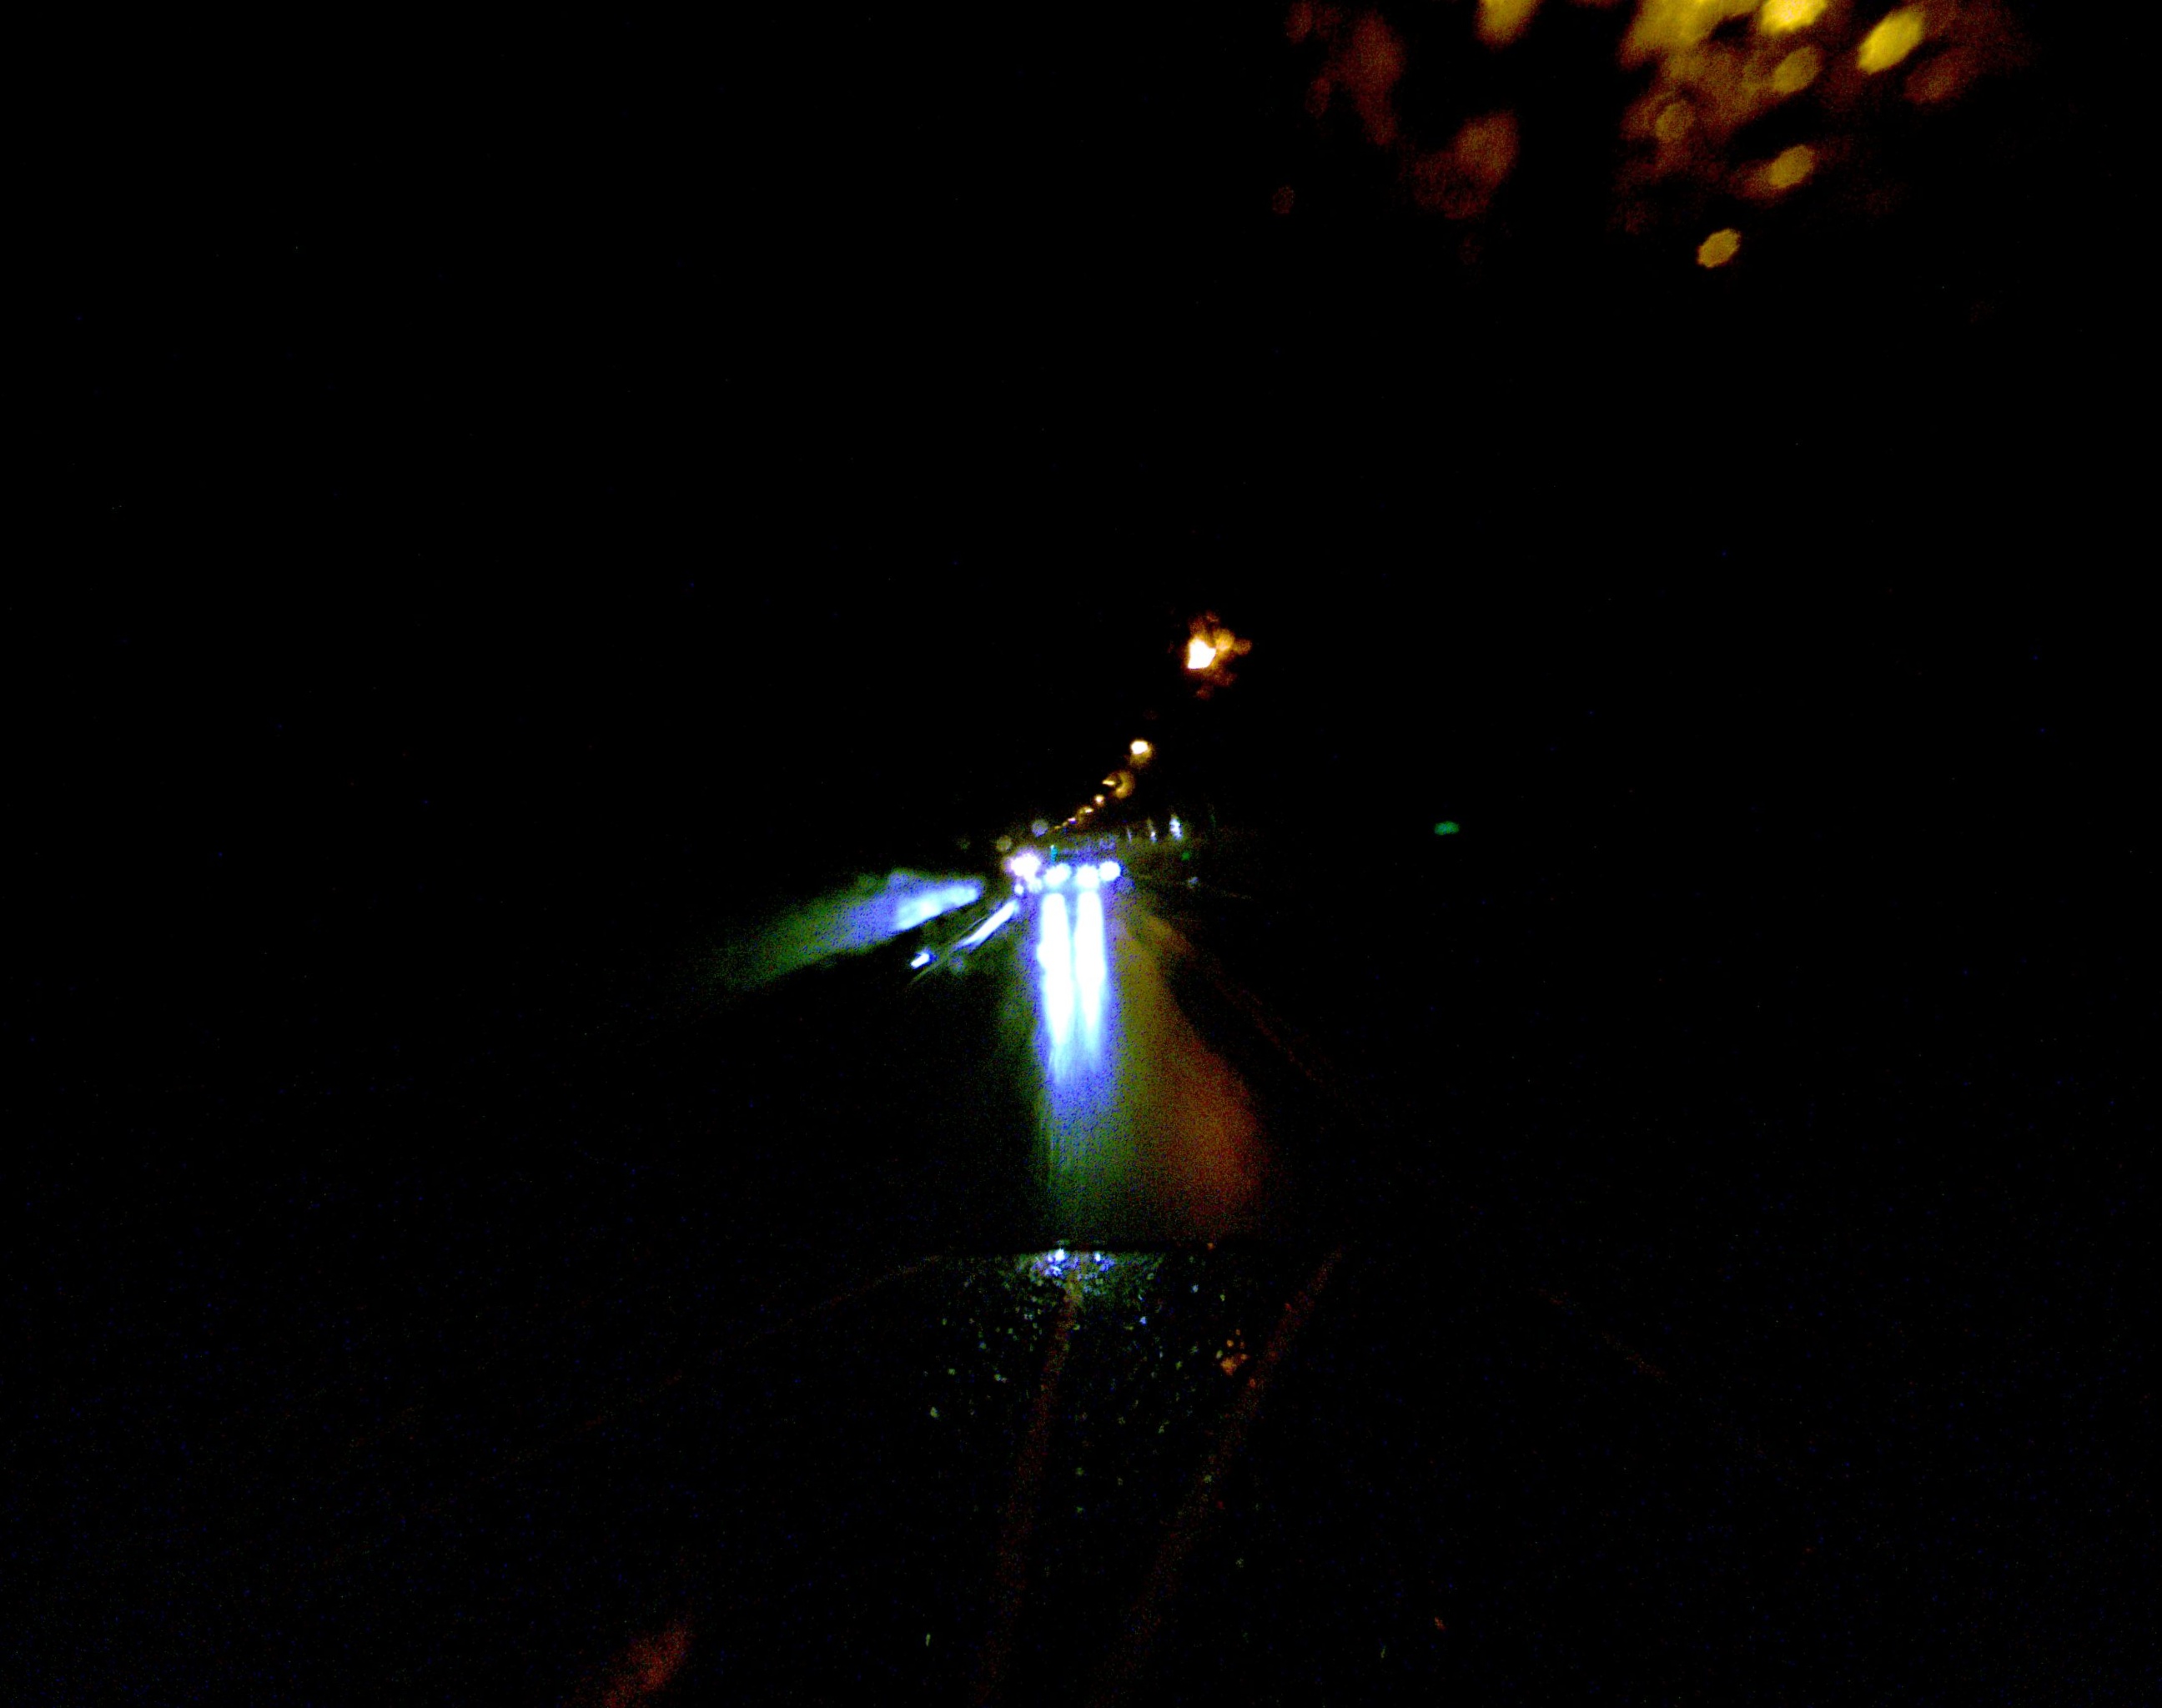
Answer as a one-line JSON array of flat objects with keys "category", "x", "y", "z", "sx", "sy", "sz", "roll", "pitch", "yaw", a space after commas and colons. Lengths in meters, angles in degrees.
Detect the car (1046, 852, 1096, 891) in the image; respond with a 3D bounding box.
[{"category": "car", "x": -0.525, "y": 0.729, "z": 34.372, "sx": 1.999, "sy": 1.547, "sz": 3.998, "roll": -3, "pitch": 1, "yaw": -3}]
